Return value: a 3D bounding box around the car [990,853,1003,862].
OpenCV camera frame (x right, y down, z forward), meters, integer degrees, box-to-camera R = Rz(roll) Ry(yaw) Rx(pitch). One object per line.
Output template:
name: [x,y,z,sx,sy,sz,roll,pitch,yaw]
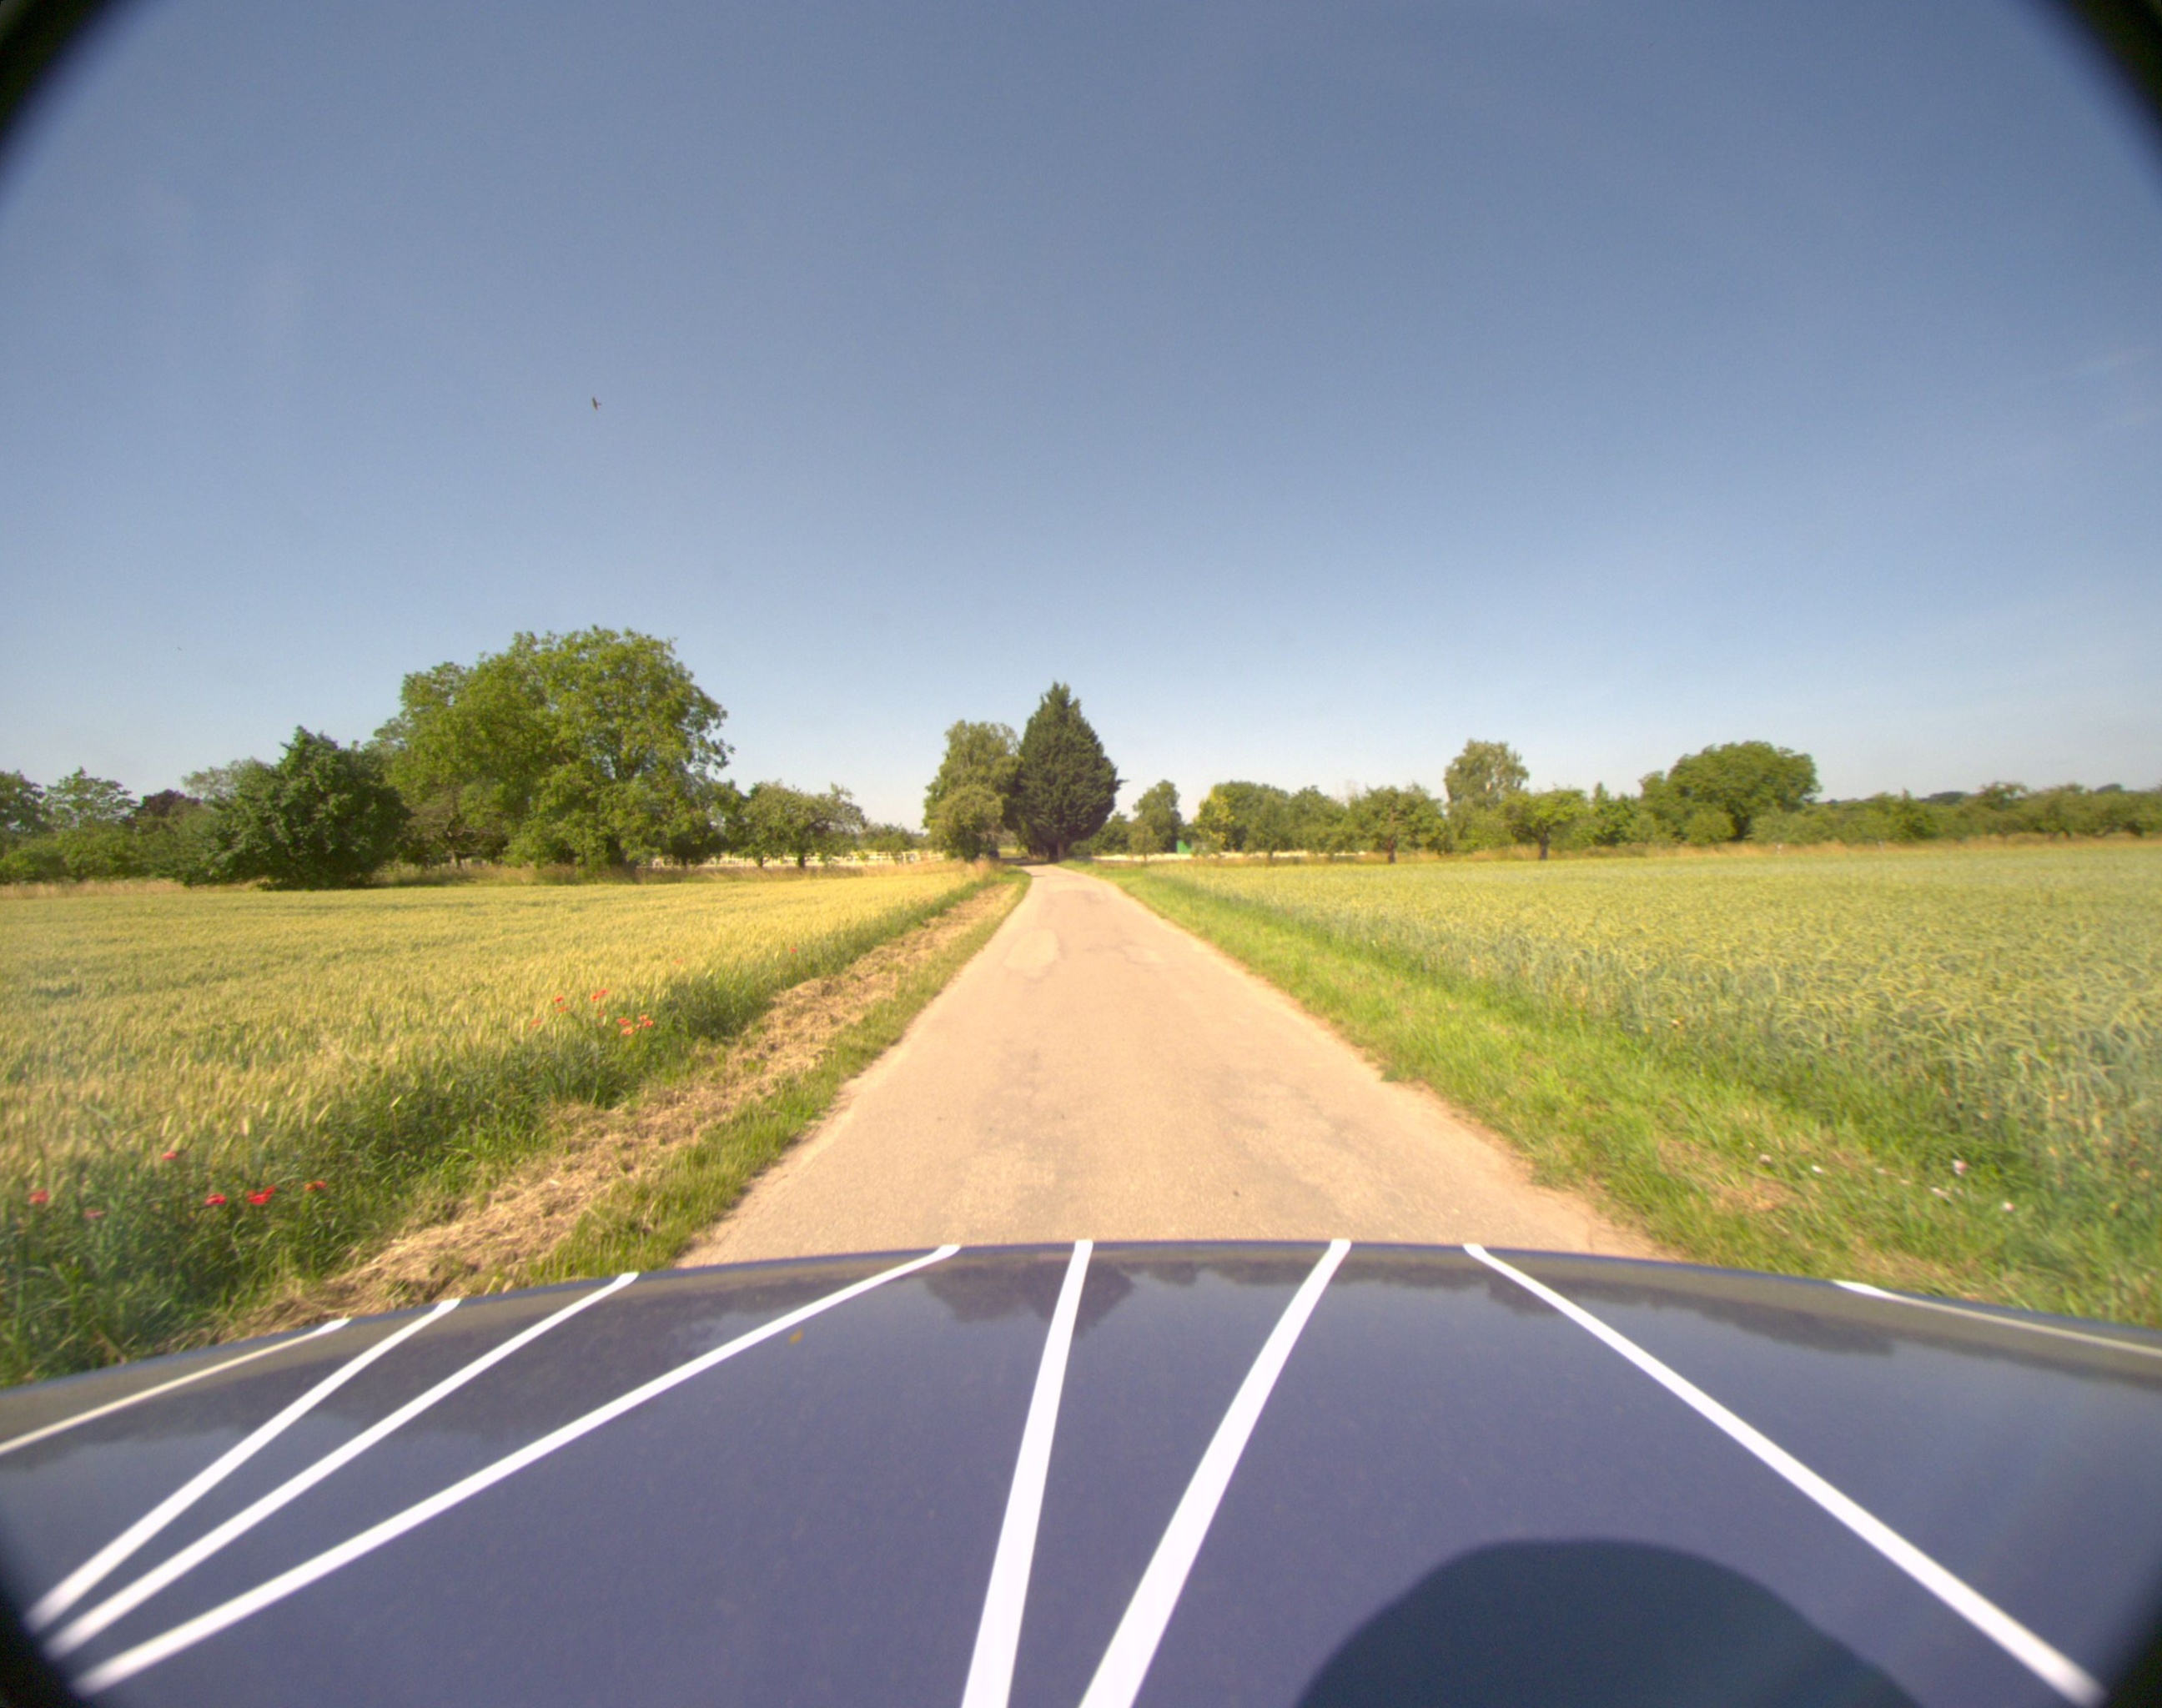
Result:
car: [-12.448,0.496,111.245,1.723,1.312,3.739,-1,1,-9]
